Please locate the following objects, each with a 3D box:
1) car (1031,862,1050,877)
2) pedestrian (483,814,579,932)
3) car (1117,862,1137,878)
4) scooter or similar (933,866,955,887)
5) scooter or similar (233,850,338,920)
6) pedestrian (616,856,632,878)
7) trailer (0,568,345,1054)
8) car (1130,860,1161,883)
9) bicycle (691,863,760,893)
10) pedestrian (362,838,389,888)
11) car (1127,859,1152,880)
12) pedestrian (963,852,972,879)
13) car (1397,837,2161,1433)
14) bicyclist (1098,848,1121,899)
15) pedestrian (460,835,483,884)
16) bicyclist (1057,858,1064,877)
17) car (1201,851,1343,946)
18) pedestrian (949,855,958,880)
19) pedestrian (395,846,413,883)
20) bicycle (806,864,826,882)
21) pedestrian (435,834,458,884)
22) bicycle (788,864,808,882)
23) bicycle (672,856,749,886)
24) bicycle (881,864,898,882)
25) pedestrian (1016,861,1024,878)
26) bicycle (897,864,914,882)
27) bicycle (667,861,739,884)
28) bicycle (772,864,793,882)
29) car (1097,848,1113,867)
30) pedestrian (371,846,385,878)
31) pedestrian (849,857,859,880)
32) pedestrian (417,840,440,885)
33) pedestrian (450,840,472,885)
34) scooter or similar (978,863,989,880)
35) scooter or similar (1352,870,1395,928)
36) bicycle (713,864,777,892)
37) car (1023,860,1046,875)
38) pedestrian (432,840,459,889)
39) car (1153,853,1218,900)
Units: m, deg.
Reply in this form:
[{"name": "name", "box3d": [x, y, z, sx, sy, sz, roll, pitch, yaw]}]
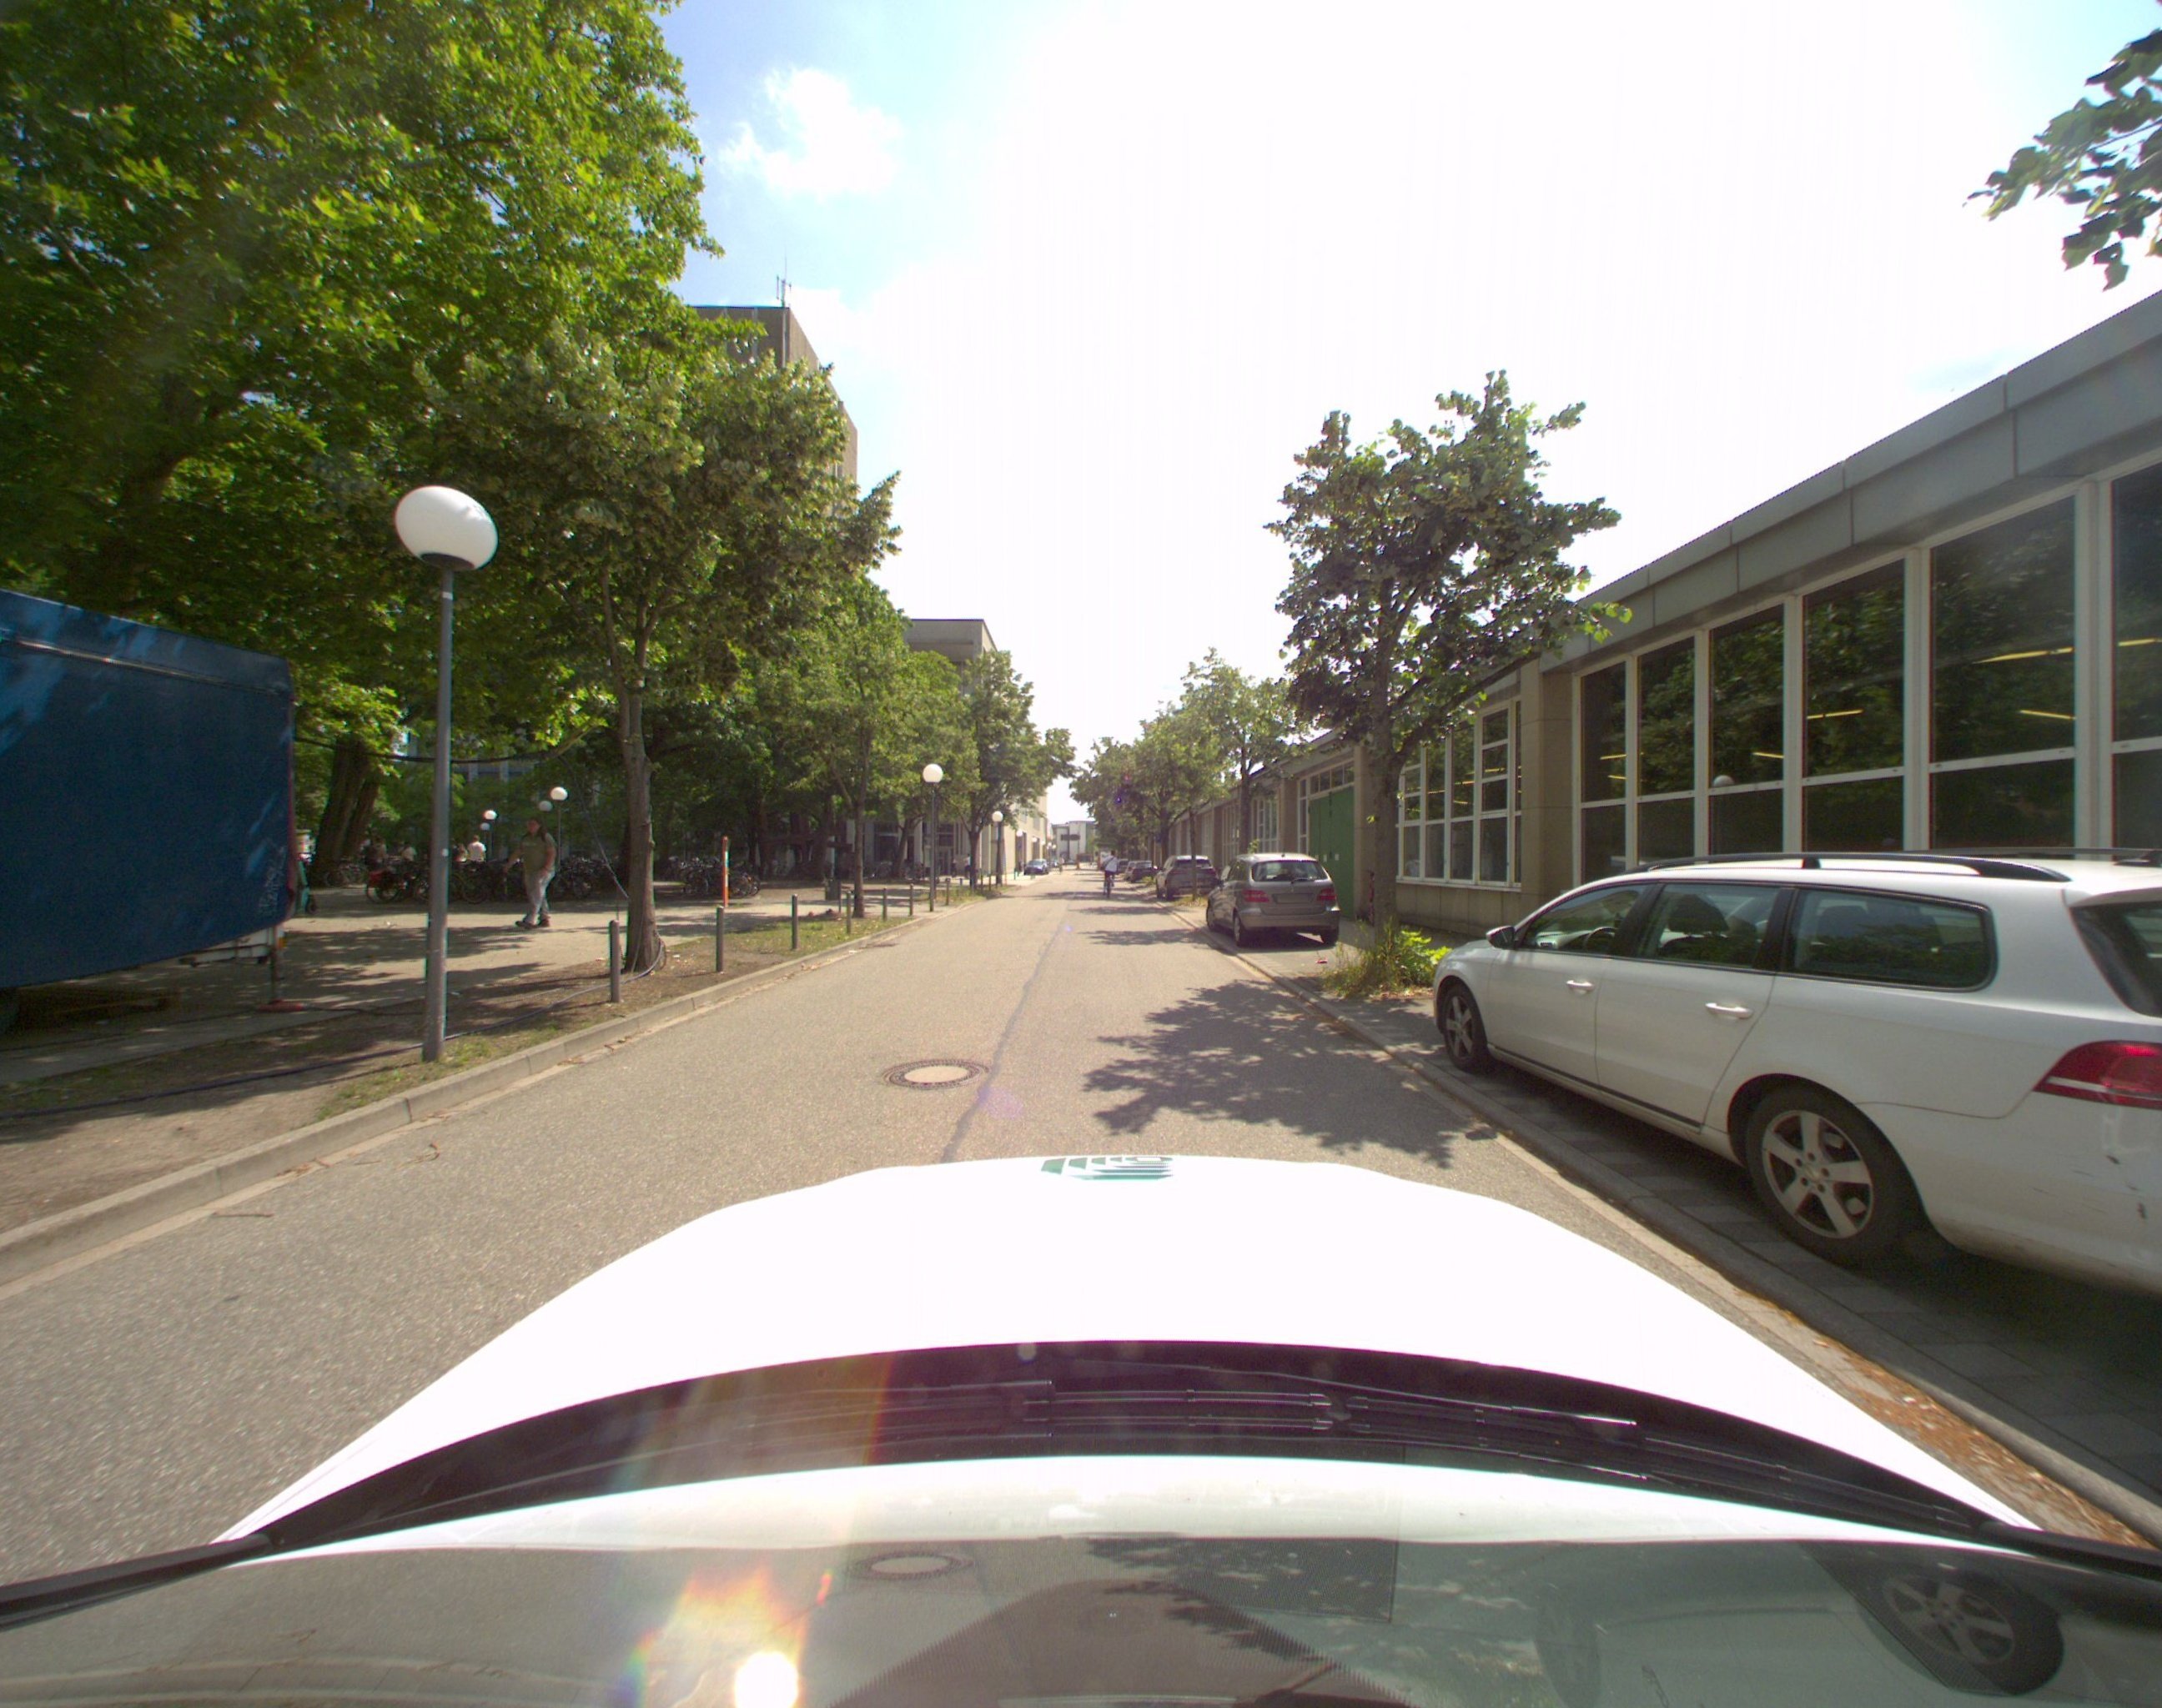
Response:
[{"name": "car", "box3d": [-4.179, 1.610, 83.631, 1.625, 1.485, 4.178, 1, -1, 1]}, {"name": "pedestrian", "box3d": [-9.611, 0.329, 14.262, 0.912, 1.955, 0.894, 3, -1, 10]}, {"name": "car", "box3d": [4.617, 1.651, 82.746, 1.852, 1.574, 4.001, -1, -1, 1]}, {"name": "scooter or similar", "box3d": [-7.719, 1.252, 45.807, 0.335, 1.176, 1.336, 1, -1, 36]}, {"name": "scooter or similar", "box3d": [-15.007, 0.566, 15.408, 0.696, 1.246, 1.241, 2, -1, 1]}, {"name": "pedestrian", "box3d": [-33.677, 0.956, 60.012, 0.824, 1.593, 0.598, 1, -1, 2]}, {"name": "trailer", "box3d": [-8.091, -0.307, 4.214, 2.687, 3.027, 6.266, 2, -1, 1]}, {"name": "car", "box3d": [4.319, 1.175, 54.784, 1.774, 1.476, 4.462, -1, -1, 1]}, {"name": "bicycle", "box3d": [-12.414, 0.844, 28.463, 2.160, 1.008, 0.671, 2, -1, -30]}, {"name": "pedestrian", "box3d": [-23.984, 0.312, 27.677, 0.580, 1.670, 0.624, 2, -1, -35]}, {"name": "car", "box3d": [4.321, 1.146, 60.370, 1.610, 1.539, 3.780, 1, -1, 1]}, {"name": "pedestrian", "box3d": [-8.286, 0.826, 59.325, 0.415, 1.942, 0.657, 2, -1, -28]}, {"name": "car", "box3d": [3.479, 0.706, 4.319, 1.720, 1.467, 4.669, 0, -1, -1]}, {"name": "bicyclist", "box3d": [1.120, 0.772, 32.311, 0.870, 2.014, 0.849, 1, -1, 1]}, {"name": "pedestrian", "box3d": [-24.543, 0.235, 32.822, 0.650, 1.934, 0.689, 2, -1, -35]}, {"name": "bicyclist", "box3d": [-2.199, 1.408, 87.756, 0.709, 2.014, 1.018, -1, -1, -2]}, {"name": "car", "box3d": [3.510, 0.768, 15.734, 1.699, 1.574, 4.138, -1, -1, -1]}, {"name": "pedestrian", "box3d": [-9.373, 0.996, 59.902, 0.444, 1.776, 0.447, 2, -1, -30]}, {"name": "pedestrian", "box3d": [-29.715, 0.450, 35.734, 0.346, 1.614, 0.464, 1, -1, 27]}, {"name": "bicycle", "box3d": [-16.794, 1.182, 51.644, 0.550, 1.086, 1.973, 2, -1, 1]}, {"name": "pedestrian", "box3d": [-25.211, 0.208, 32.346, 0.624, 1.934, 0.675, 2, -1, -35]}, {"name": "bicycle", "box3d": [-17.979, 1.183, 51.774, 0.550, 1.086, 1.973, 2, -1, 1]}, {"name": "bicycle", "box3d": [-16.133, 0.746, 35.521, 2.924, 1.220, 0.872, 2, -1, -42]}, {"name": "bicycle", "box3d": [-12.280, 1.222, 52.183, 0.550, 1.086, 1.973, 2, -1, 1]}, {"name": "pedestrian", "box3d": [-6.111, 1.506, 81.172, 0.650, 1.701, 0.886, 1, -1, -10]}, {"name": "bicycle", "box3d": [-11.175, 1.213, 51.886, 0.550, 1.086, 1.973, 2, -1, 1]}, {"name": "bicycle", "box3d": [-16.785, 0.836, 36.260, 2.748, 1.003, 0.872, 2, -1, -42]}, {"name": "bicycle", "box3d": [-18.912, 1.175, 51.680, 0.550, 1.086, 1.973, 2, -1, 1]}, {"name": "car", "box3d": [3.337, 0.543, 112.290, 2.077, 2.540, 4.315, 2, -1, 0]}, {"name": "pedestrian", "box3d": [-38.825, 0.446, 44.987, 0.414, 1.714, 0.539, 2, -1, -30]}, {"name": "pedestrian", "box3d": [-17.115, 1.091, 61.333, 0.633, 1.661, 0.692, 1, -1, -10]}, {"name": "pedestrian", "box3d": [-24.185, 0.313, 30.174, 0.558, 1.670, 0.696, 2, -1, -35]}, {"name": "pedestrian", "box3d": [-23.423, 0.325, 30.781, 0.558, 1.670, 0.687, 2, -1, -34]}, {"name": "scooter or similar", "box3d": [-7.365, 1.314, 61.580, 0.452, 1.223, 1.550, 1, -1, 4]}, {"name": "scooter or similar", "box3d": [6.430, 0.962, 17.961, 0.414, 1.217, 1.493, -1, -1, 1]}, {"name": "bicycle", "box3d": [-12.795, 0.920, 31.062, 2.160, 1.008, 0.671, 2, -1, -30]}, {"name": "car", "box3d": [-4.414, 1.325, 78.247, 1.759, 1.428, 4.236, 1, -1, 2]}, {"name": "pedestrian", "box3d": [-22.171, 0.365, 28.425, 0.634, 1.670, 0.722, 2, -1, -35]}, {"name": "car", "box3d": [3.903, 0.859, 31.234, 1.817, 1.664, 4.581, -1, -2, -1]}]
